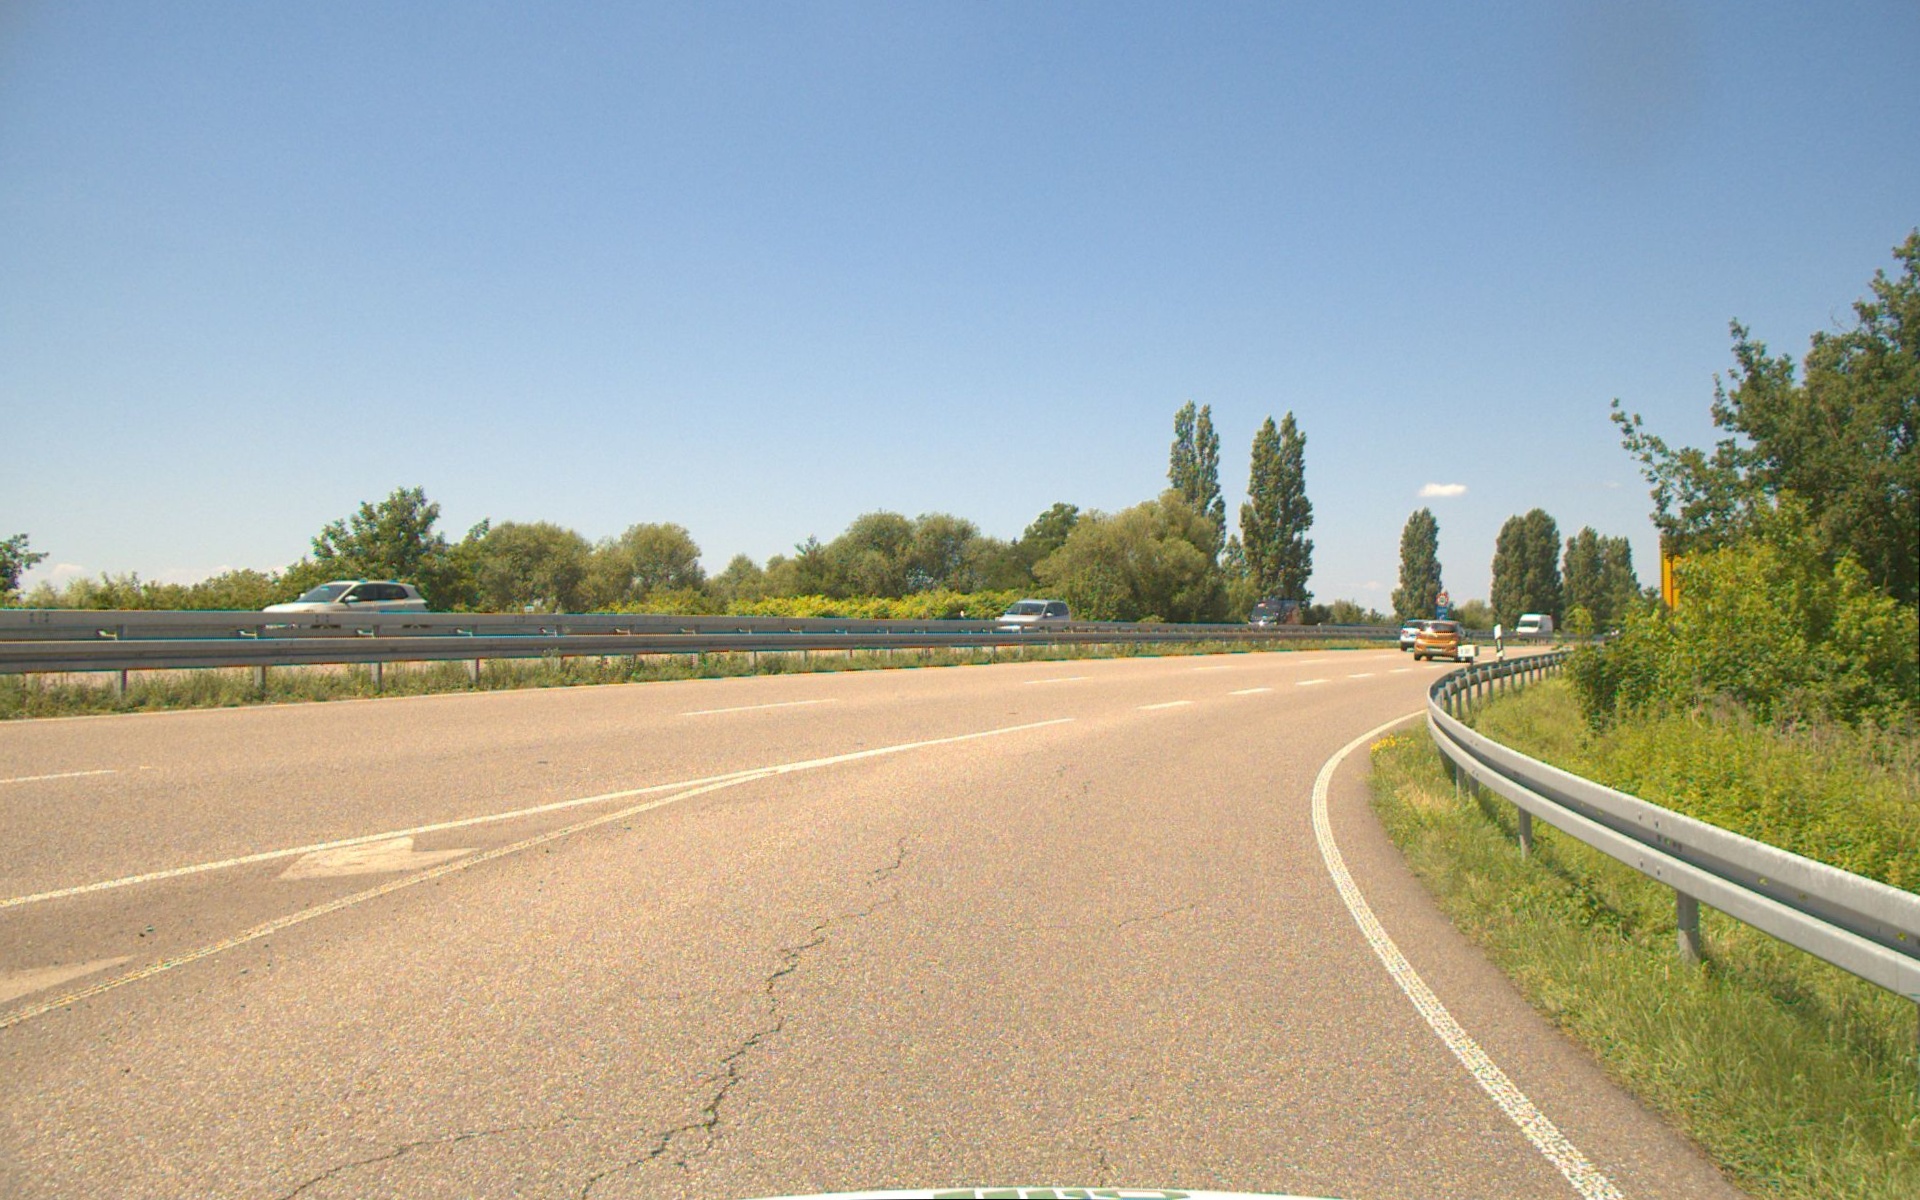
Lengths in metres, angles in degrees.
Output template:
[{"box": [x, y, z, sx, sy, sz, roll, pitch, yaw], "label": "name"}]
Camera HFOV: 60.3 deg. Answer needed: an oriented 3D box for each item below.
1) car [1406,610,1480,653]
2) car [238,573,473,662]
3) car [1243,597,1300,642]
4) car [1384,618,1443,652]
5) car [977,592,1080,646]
[{"box": [18.001, 1.164, 61.520, 1.806, 1.489, 3.993, 2, 0, 29], "label": "car"}, {"box": [-14.059, 0.448, 38.772, 2.163, 1.926, 4.901, 1, -2, 31], "label": "car"}, {"box": [19.704, 1.235, 104.481, 2.160, 2.684, 5.620, 1, -2, 26], "label": "car"}, {"box": [21.644, 1.643, 78.876, 1.806, 1.476, 3.993, 2, 0, 29], "label": "car"}, {"box": [2.685, 0.748, 63.480, 2.160, 1.926, 4.907, 1, -2, 25], "label": "car"}]
